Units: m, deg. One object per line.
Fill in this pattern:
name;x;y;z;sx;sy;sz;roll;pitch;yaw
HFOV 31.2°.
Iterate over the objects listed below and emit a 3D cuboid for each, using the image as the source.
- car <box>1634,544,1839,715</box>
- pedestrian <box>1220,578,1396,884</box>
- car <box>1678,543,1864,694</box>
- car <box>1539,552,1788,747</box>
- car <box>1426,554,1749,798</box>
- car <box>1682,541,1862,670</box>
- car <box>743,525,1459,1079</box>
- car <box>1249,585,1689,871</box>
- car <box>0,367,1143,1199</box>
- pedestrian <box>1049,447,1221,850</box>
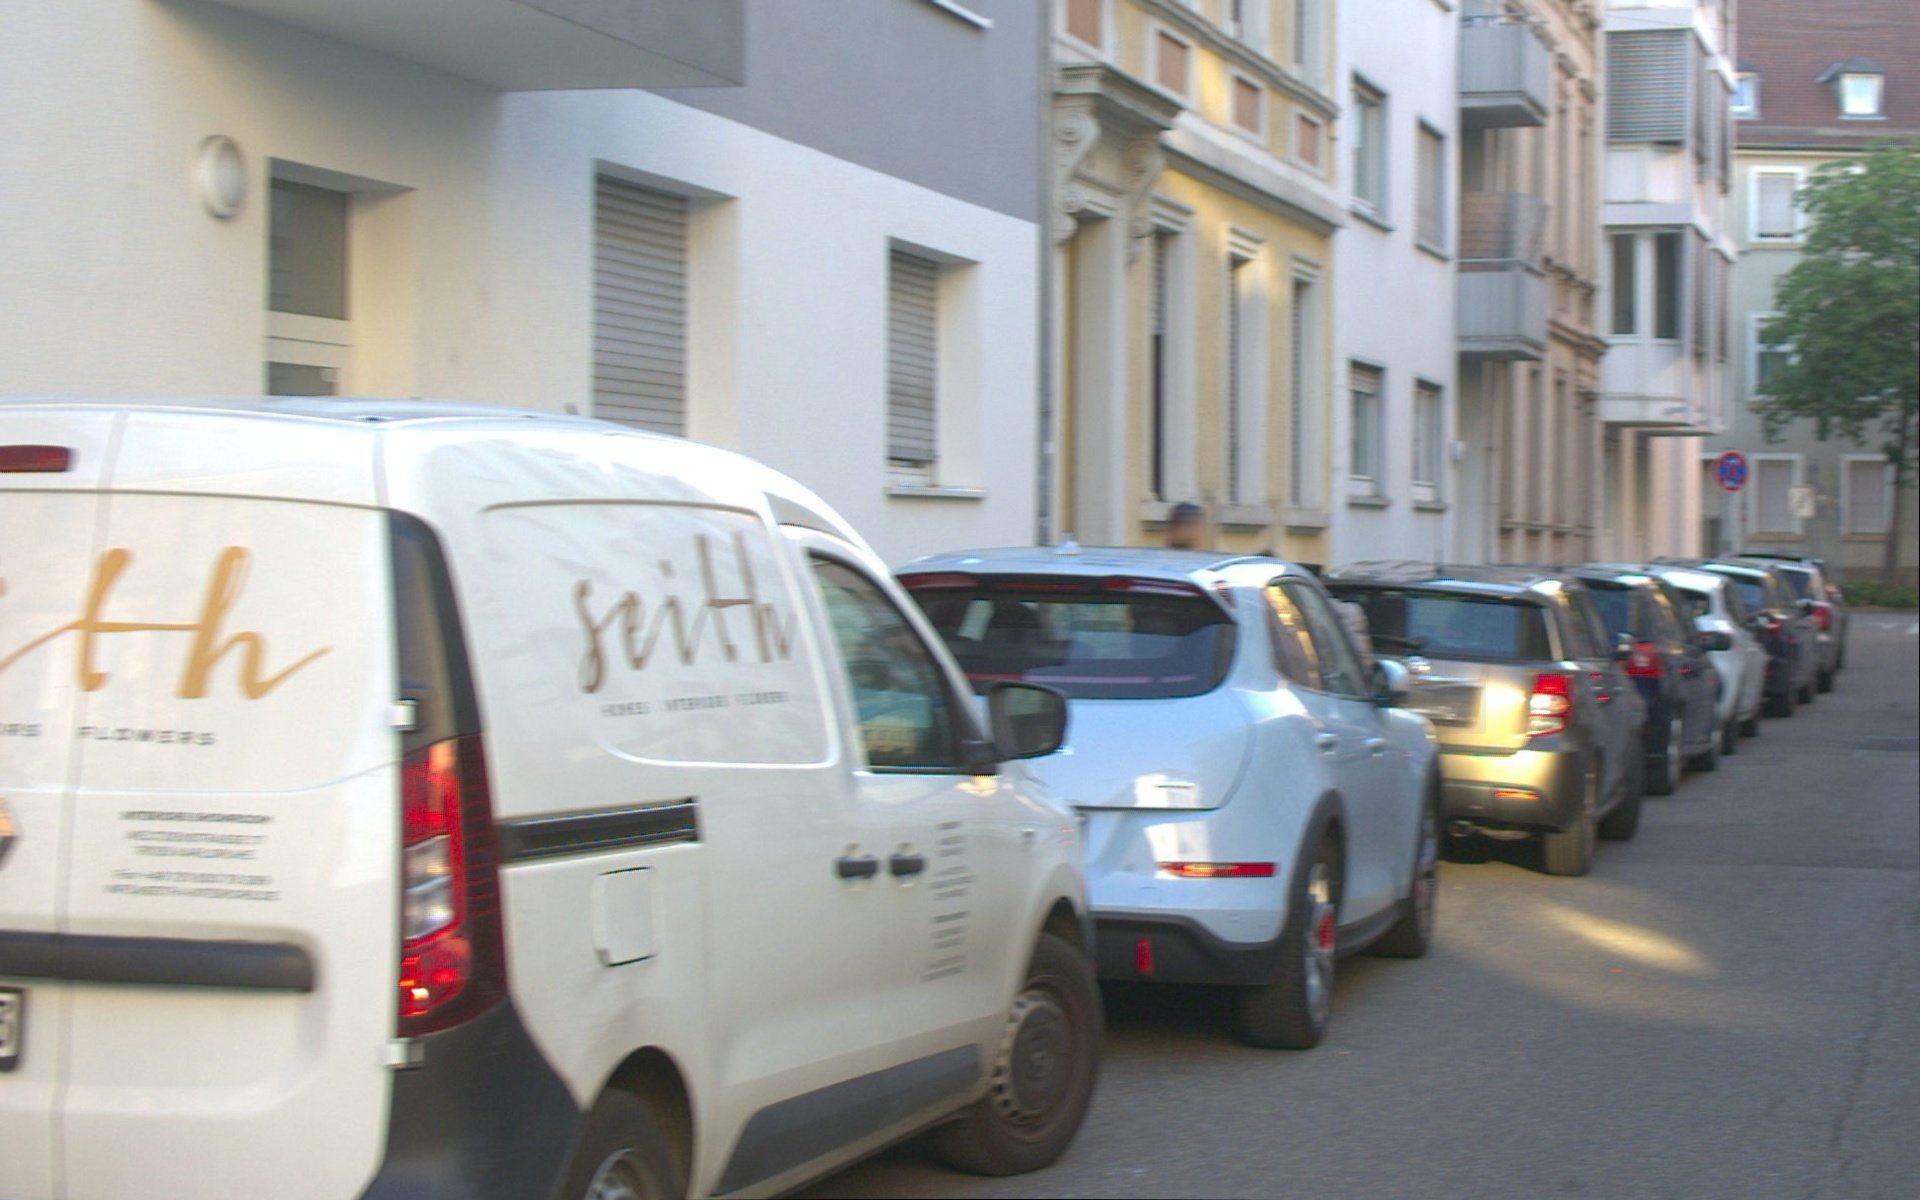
car;7.855;0.236;34.551;1.616;1.565;4.300;1;1;18
pedestrian;1.640;0.603;16.265;0.660;1.405;0.673;0;1;-10
car;9.568;0.165;40.386;1.995;1.661;4.406;1;1;15
car;5.953;0.359;28.816;1.631;1.467;3.751;1;1;18
car;4.458;0.456;24.022;1.729;1.503;3.827;1;1;18
car;11.022;0.036;46.474;1.995;1.657;3.974;0;1;19
car;0.705;0.541;12.348;1.764;1.558;4.364;0;2;13
car;2.835;0.597;18.419;1.685;1.327;4.128;1;0;18
car;-0.909;0.503;7.330;1.632;1.807;4.182;1;1;17
pedestrian;0.902;0.234;17.567;0.798;2.007;0.775;0;1;8
